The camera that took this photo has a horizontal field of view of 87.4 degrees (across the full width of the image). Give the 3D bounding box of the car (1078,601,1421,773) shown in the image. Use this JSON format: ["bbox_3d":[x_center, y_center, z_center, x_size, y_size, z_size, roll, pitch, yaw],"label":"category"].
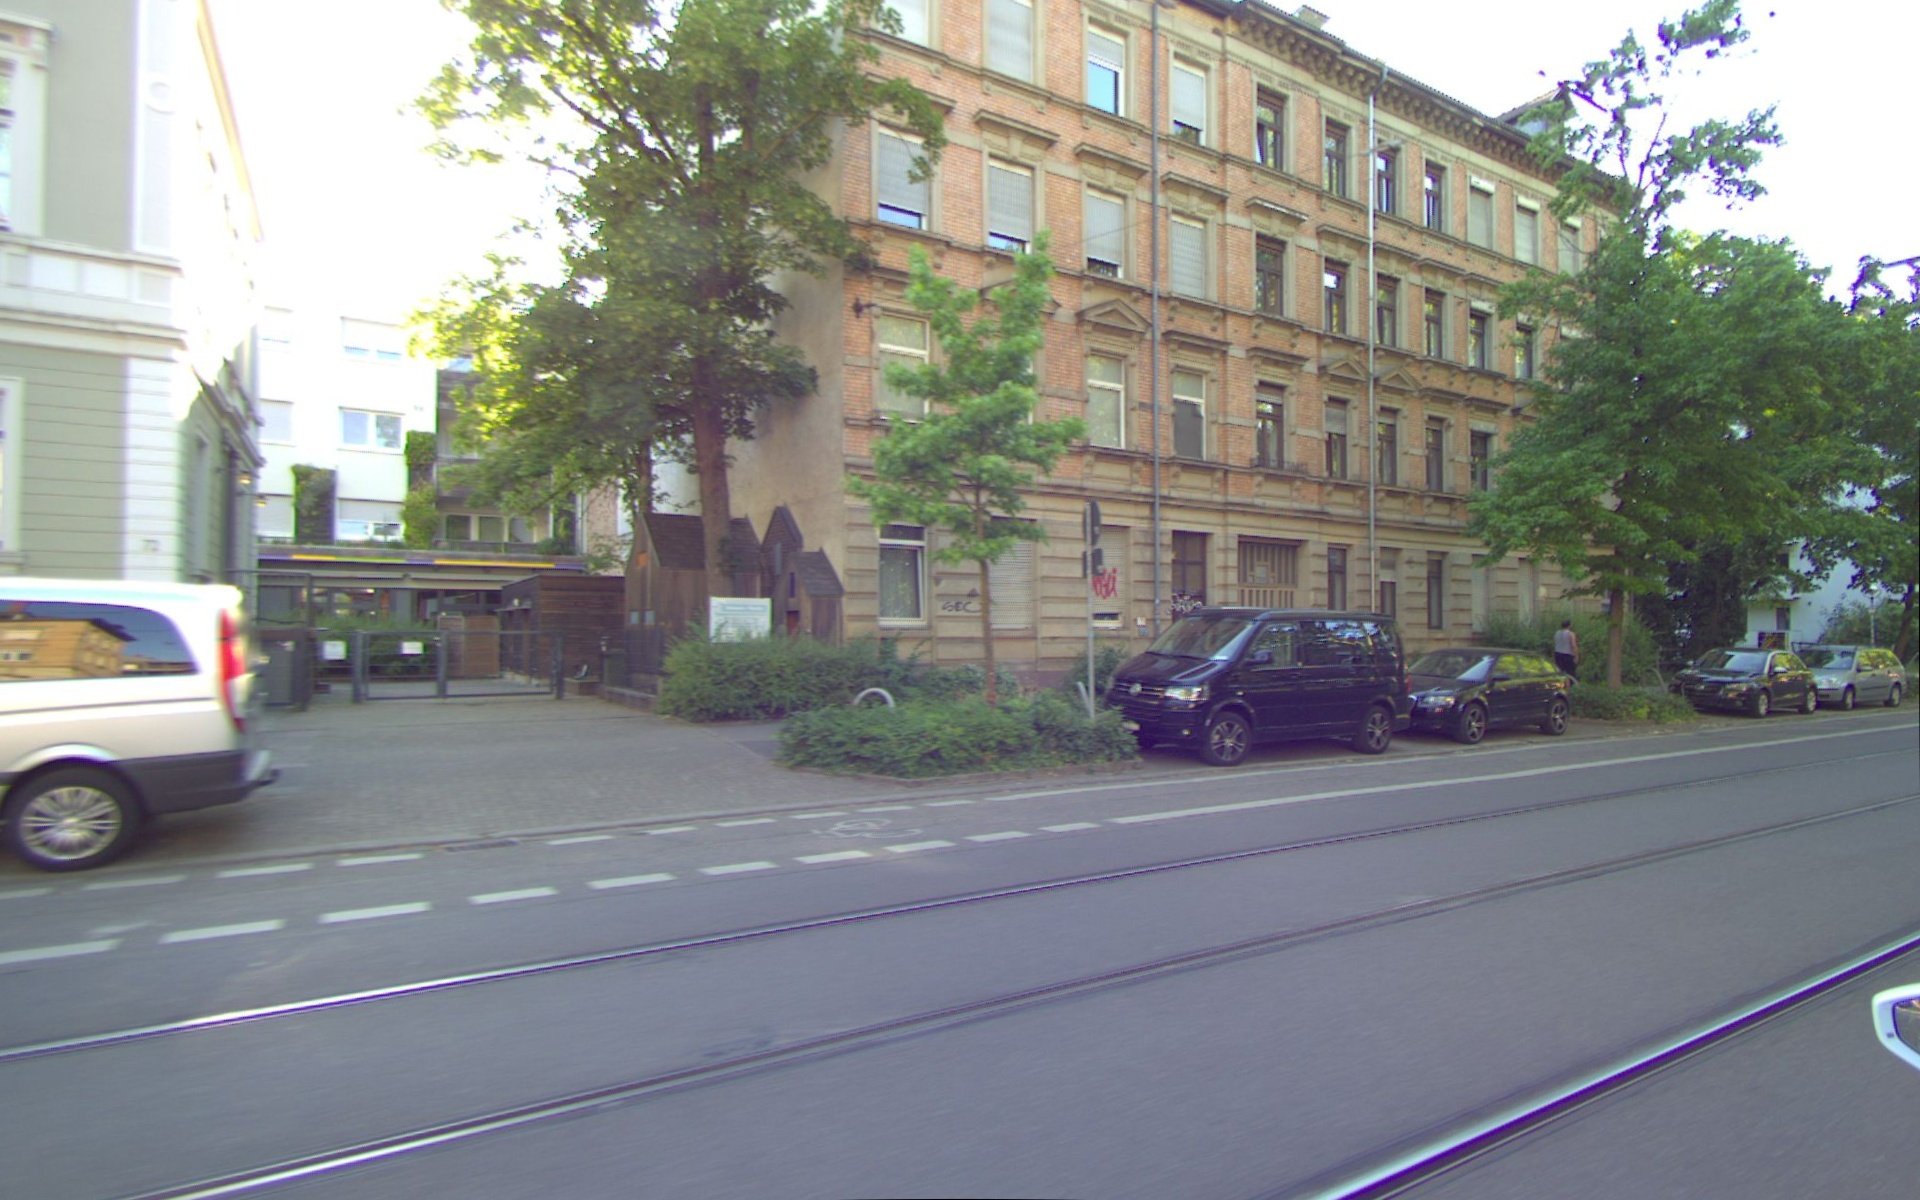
[{"bbox_3d":[4.123,1.118,14.059,4.782,2.040,1.982,2,-2,-33],"label":"car"}]

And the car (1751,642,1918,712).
[{"bbox_3d":[21.798,1.857,25.003,4.480,1.571,1.693,1,-1,-29],"label":"car"}]

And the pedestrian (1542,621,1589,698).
[{"bbox_3d":[14.985,1.457,24.857,0.721,1.872,0.737,1,-1,-33],"label":"pedestrian"}]

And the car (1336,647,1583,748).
[{"bbox_3d":[8.461,1.539,16.928,4.224,1.477,1.843,2,-3,-33],"label":"car"}]

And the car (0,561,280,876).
[{"bbox_3d":[-7.573,0.761,6.640,4.930,2.015,1.835,1,-2,-31],"label":"car"}]

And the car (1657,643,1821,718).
[{"bbox_3d":[17.184,1.705,22.125,3.906,1.464,1.649,1,-2,-32],"label":"car"}]
